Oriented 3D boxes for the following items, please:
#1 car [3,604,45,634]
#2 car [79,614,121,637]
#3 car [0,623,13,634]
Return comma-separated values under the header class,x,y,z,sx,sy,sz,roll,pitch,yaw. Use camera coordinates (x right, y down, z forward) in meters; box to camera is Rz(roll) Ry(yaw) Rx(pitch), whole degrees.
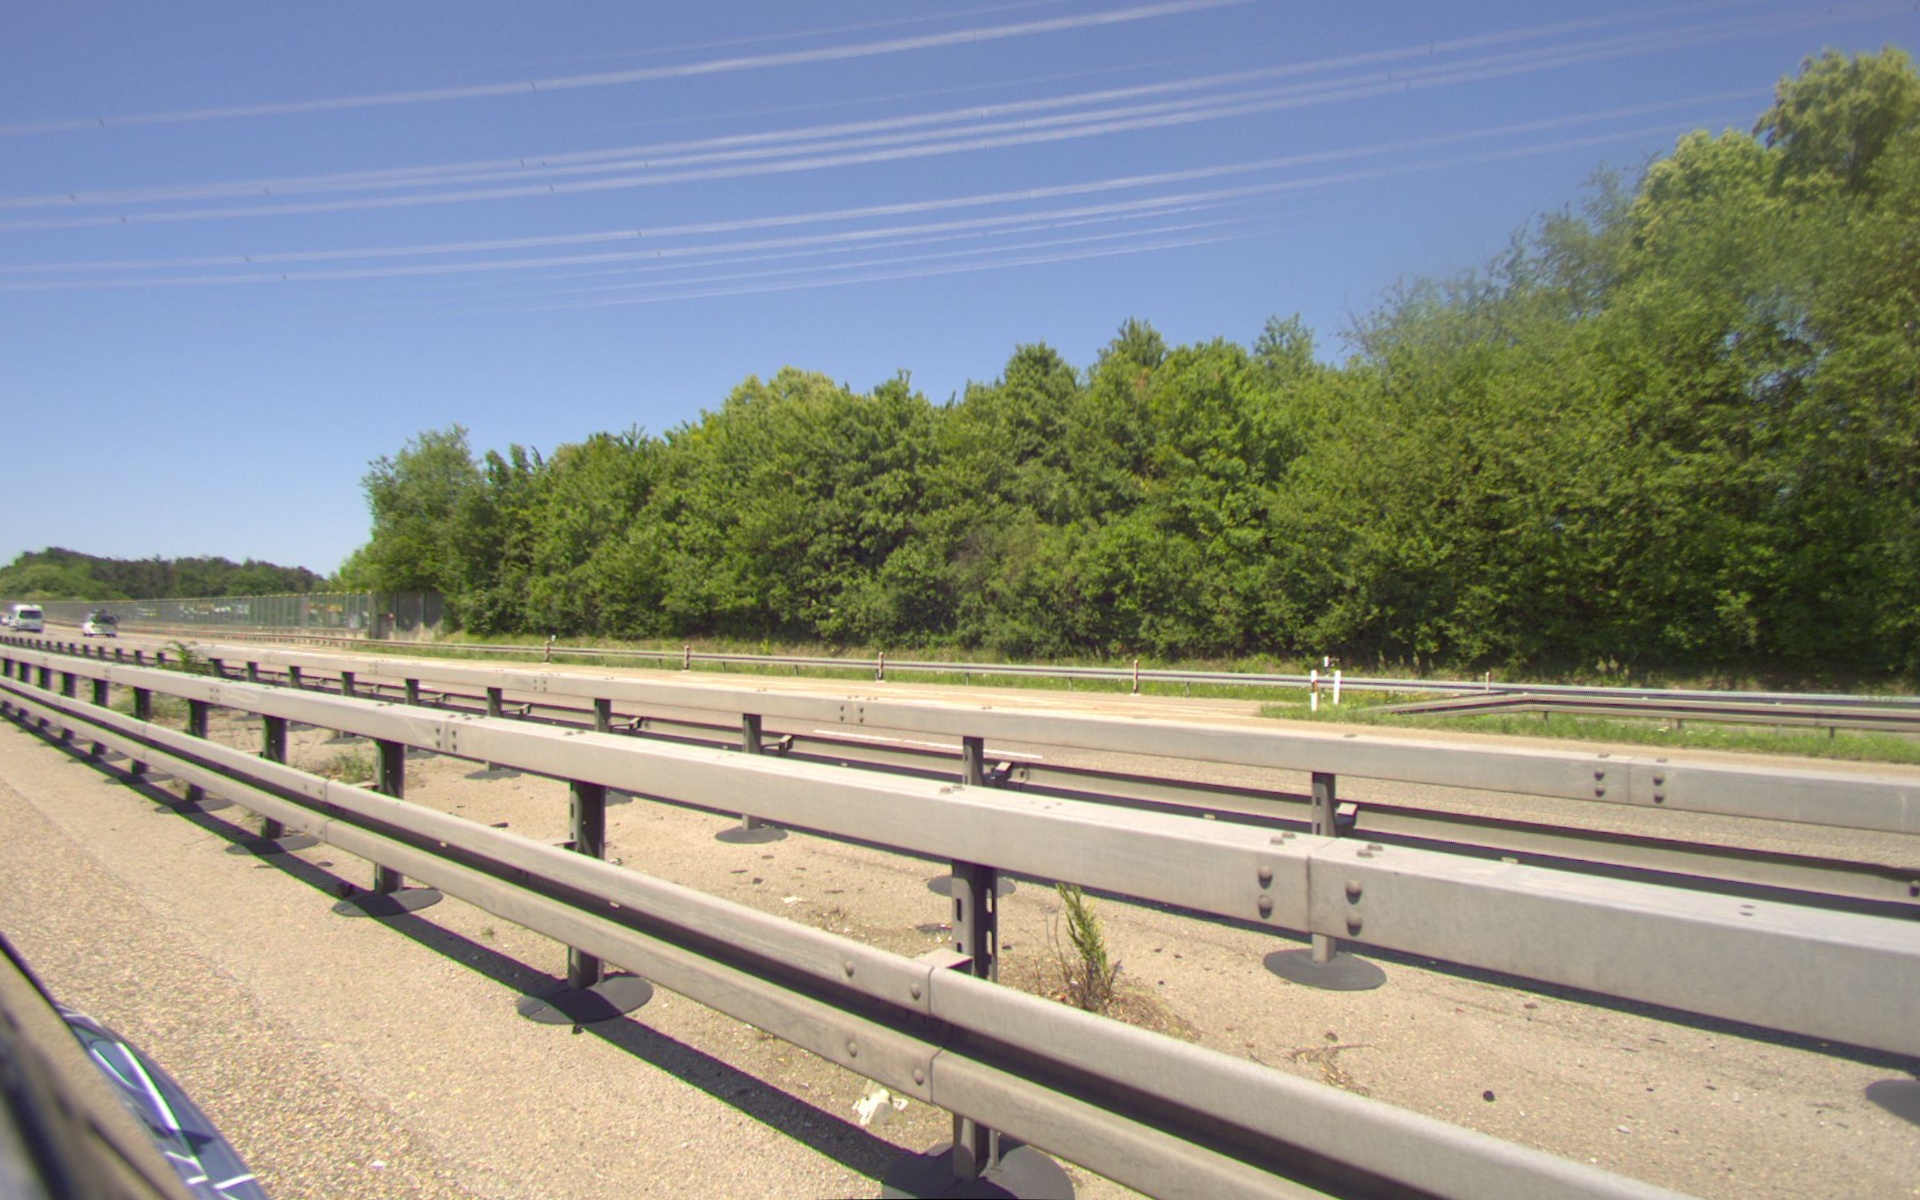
class,x,y,z,sx,sy,sz,roll,pitch,yaw
car,-85.655,1.724,92.567,5.887,2.613,2.133,0,-2,41
car,-75.247,2.240,88.526,5.488,1.919,1.846,0,-3,40
car,-135.216,4.017,142.887,4.344,1.467,1.667,-1,-3,42
